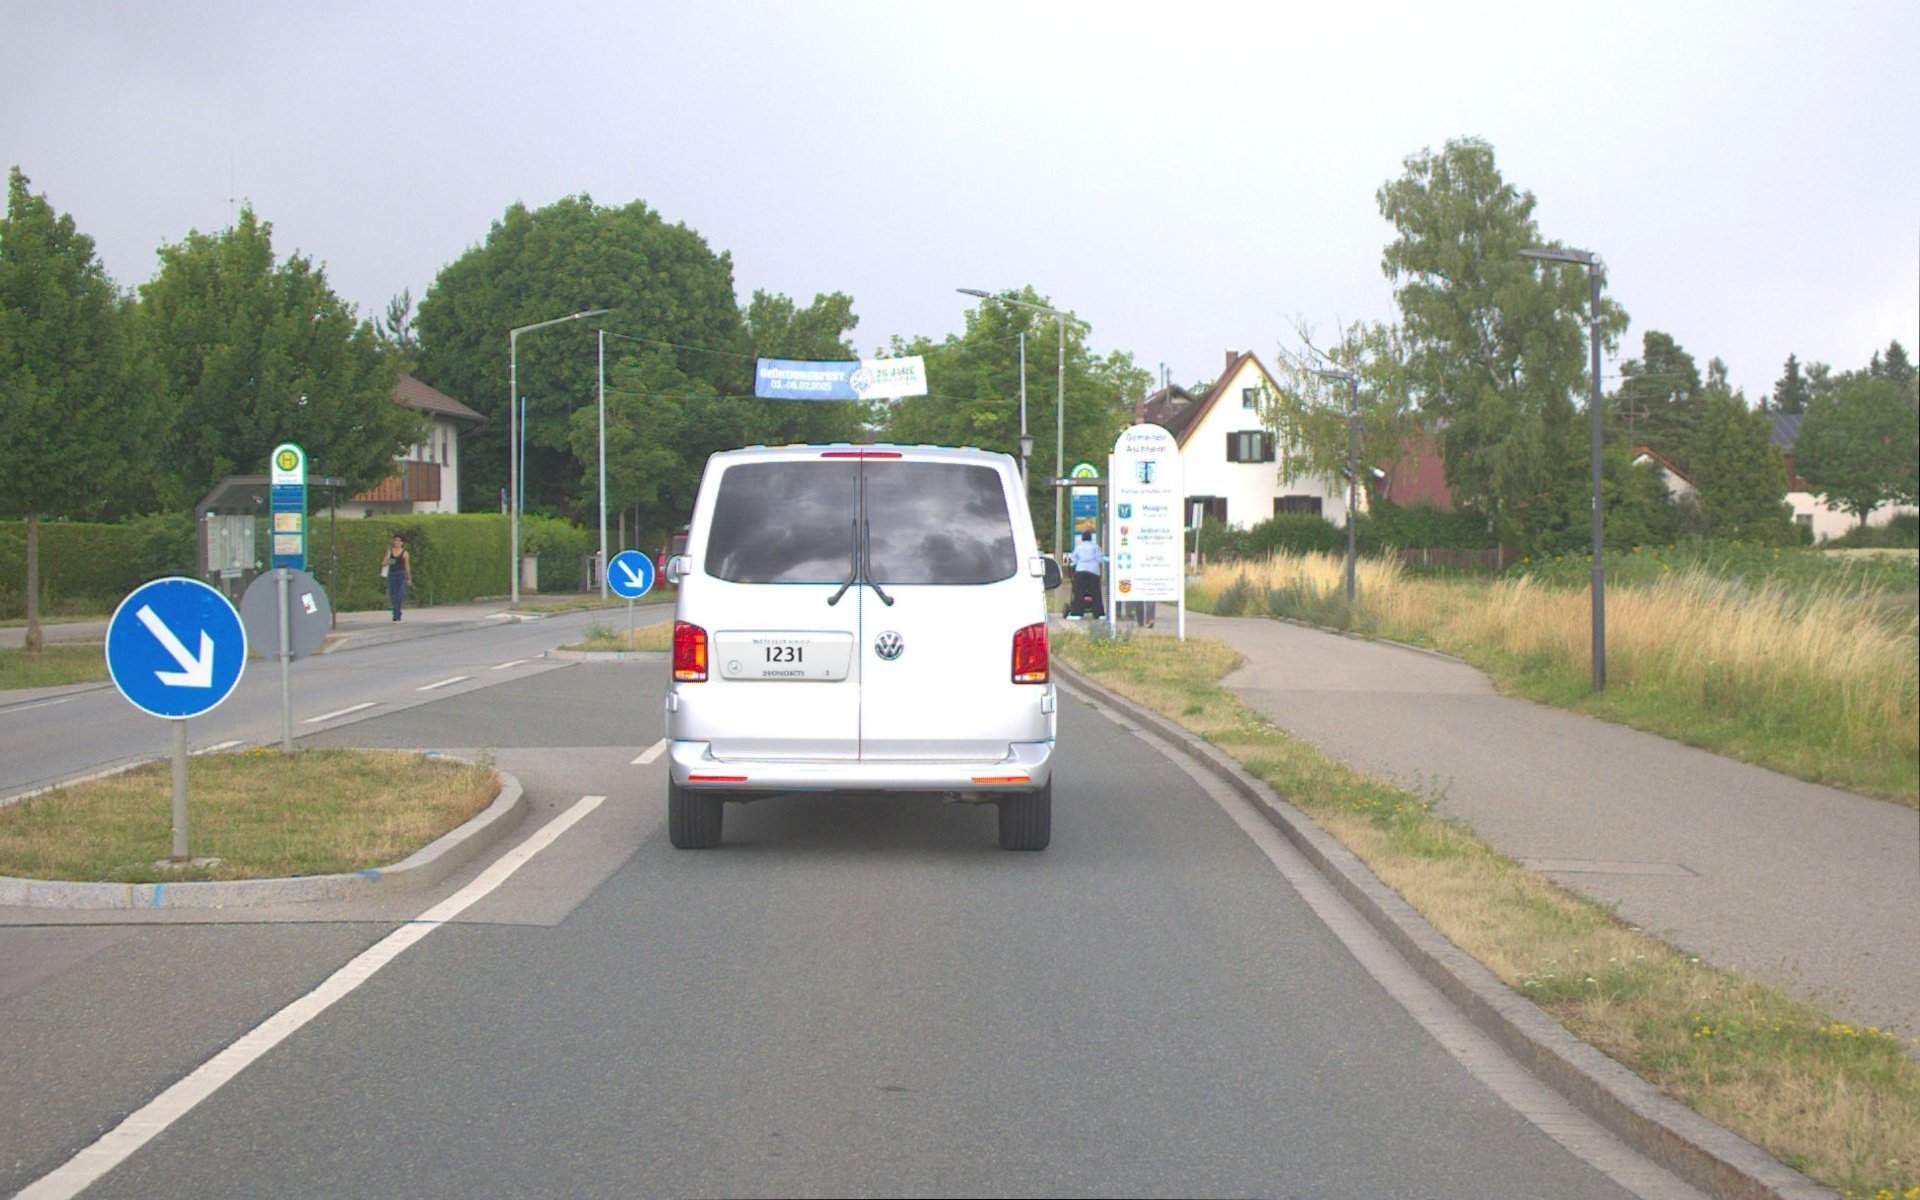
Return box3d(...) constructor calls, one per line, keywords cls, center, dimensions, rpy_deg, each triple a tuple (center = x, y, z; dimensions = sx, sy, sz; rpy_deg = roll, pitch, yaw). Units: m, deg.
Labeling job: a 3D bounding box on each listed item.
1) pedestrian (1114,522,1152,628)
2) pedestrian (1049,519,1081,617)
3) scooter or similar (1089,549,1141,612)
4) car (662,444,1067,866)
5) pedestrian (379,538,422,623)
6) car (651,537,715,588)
box3d(cls="pedestrian", center=(2.866, -0.421, 56.868), dimensions=(0.485, 1.726, 0.642), rpy_deg=(-2, 1, -6))
box3d(cls="pedestrian", center=(1.882, -0.575, 61.666), dimensions=(0.485, 1.726, 0.642), rpy_deg=(-2, 1, -1))
box3d(cls="scooter or similar", center=(2.797, -0.360, 62.140), dimensions=(0.848, 1.100, 1.094), rpy_deg=(-2, 1, 0))
box3d(cls="car", center=(-0.502, 0.202, 17.673), dimensions=(1.825, 1.907, 4.001), rpy_deg=(1, 1, -2))
box3d(cls="pedestrian", center=(-10.224, -0.369, 62.811), dimensions=(0.623, 1.519, 0.680), rpy_deg=(-2, 1, -1))
box3d(cls="car", center=(-8.357, -1.145, 103.909), dimensions=(1.653, 1.424, 3.603), rpy_deg=(-2, 1, -1))
